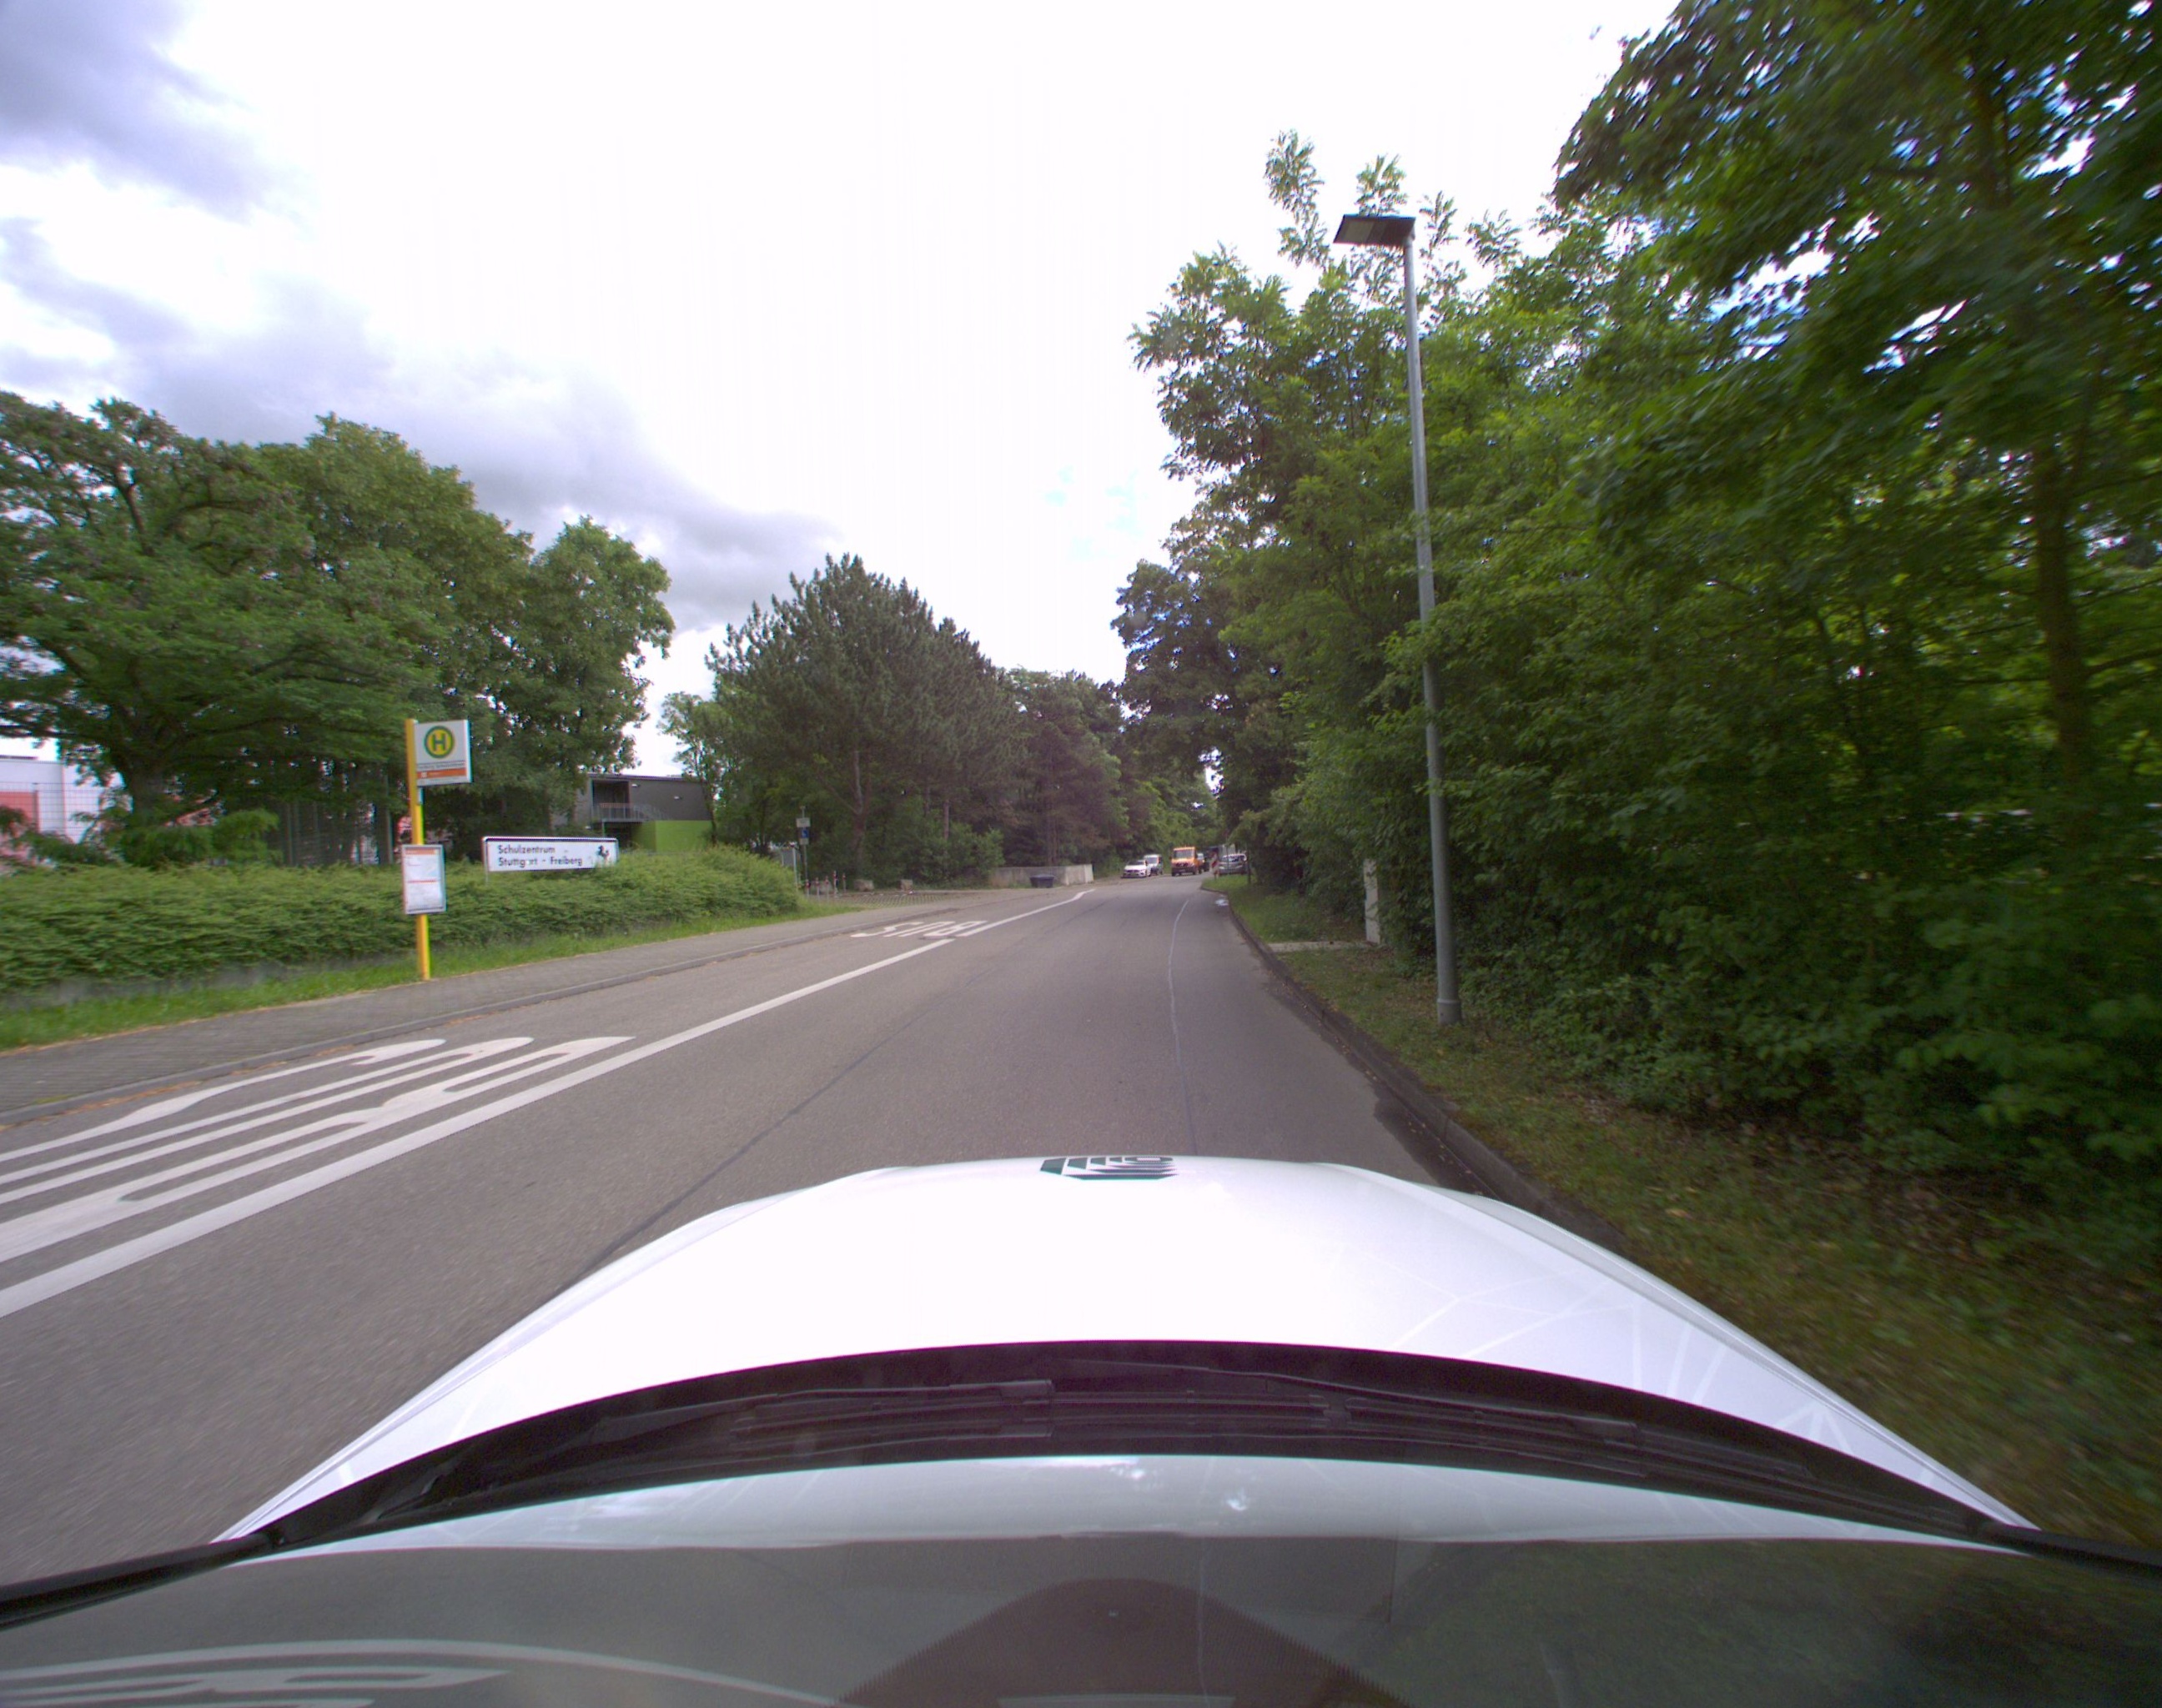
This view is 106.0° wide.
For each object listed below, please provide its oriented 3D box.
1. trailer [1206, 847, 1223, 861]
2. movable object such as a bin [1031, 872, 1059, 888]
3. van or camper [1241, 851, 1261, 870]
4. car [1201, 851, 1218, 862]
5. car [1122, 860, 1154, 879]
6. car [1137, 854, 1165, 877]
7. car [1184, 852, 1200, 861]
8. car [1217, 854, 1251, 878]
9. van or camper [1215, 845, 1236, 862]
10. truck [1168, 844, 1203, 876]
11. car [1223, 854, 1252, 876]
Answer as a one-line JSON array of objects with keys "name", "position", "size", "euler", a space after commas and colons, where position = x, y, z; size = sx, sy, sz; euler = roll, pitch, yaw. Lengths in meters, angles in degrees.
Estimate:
[{"name": "trailer", "position": [25.454, 0.044, 155.387], "size": [1.991, 2.398, 3.991], "euler": [-3, 0, -6]}, {"name": "movable object such as a bin", "position": [-1.840, 1.328, 41.495], "size": [1.149, 0.760, 1.041], "euler": [0, -2, -24]}, {"name": "van or camper", "position": [17.356, 0.673, 82.920], "size": [1.789, 1.838, 4.335], "euler": [-3, -2, 13]}, {"name": "car", "position": [25.359, 0.441, 160.904], "size": [1.992, 2.025, 3.991], "euler": [-6, 1, -7]}, {"name": "car", "position": [4.575, 1.210, 64.946], "size": [1.793, 1.403, 4.387], "euler": [-1, 0, 13]}, {"name": "car", "position": [6.181, 0.979, 71.301], "size": [1.708, 1.921, 4.122], "euler": [-1, 0, 15]}, {"name": "car", "position": [23.803, 0.542, 174.218], "size": [2.036, 1.803, 4.066], "euler": [-4, 0, -12]}, {"name": "car", "position": [10.237, 0.790, 54.322], "size": [1.779, 1.411, 4.075], "euler": [-4, -1, 15]}, {"name": "van or camper", "position": [25.595, -0.066, 144.409], "size": [2.473, 2.876, 6.892], "euler": [-3, -1, 2]}, {"name": "truck", "position": [8.734, 0.467, 67.558], "size": [2.306, 2.470, 6.041], "euler": [-1, 0, 13]}, {"name": "car", "position": [11.924, 0.790, 61.901], "size": [1.873, 1.507, 5.195], "euler": [-3, -1, 13]}]
